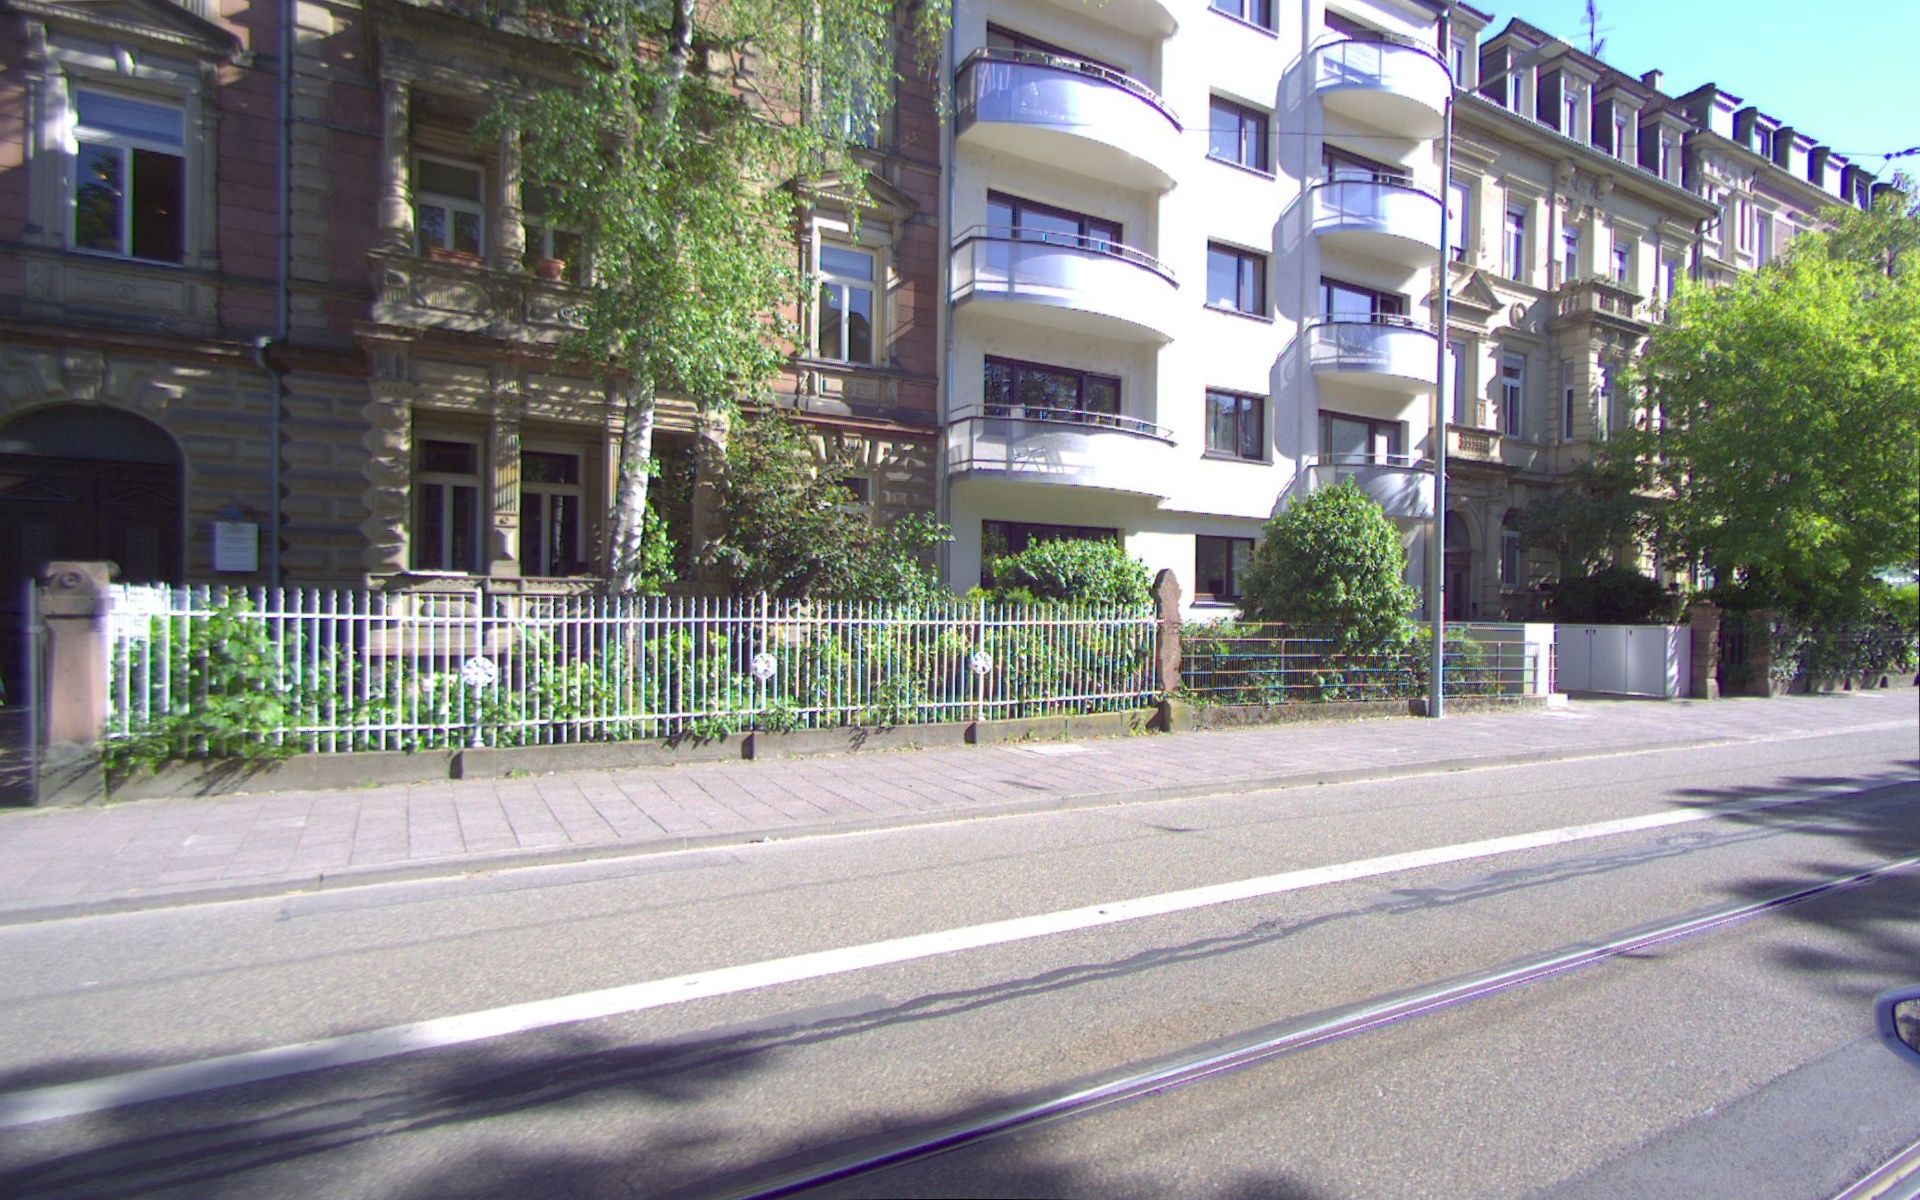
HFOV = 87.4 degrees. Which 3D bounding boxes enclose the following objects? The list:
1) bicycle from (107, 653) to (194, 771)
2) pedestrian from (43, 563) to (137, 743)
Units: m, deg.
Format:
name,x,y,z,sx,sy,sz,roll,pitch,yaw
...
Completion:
name,x,y,z,sx,sy,sz,roll,pitch,yaw
bicycle,-8.231,1.098,10.253,0.418,1.026,1.454,1,1,-28
pedestrian,-8.501,0.497,9.837,0.600,1.695,0.511,1,1,-30
